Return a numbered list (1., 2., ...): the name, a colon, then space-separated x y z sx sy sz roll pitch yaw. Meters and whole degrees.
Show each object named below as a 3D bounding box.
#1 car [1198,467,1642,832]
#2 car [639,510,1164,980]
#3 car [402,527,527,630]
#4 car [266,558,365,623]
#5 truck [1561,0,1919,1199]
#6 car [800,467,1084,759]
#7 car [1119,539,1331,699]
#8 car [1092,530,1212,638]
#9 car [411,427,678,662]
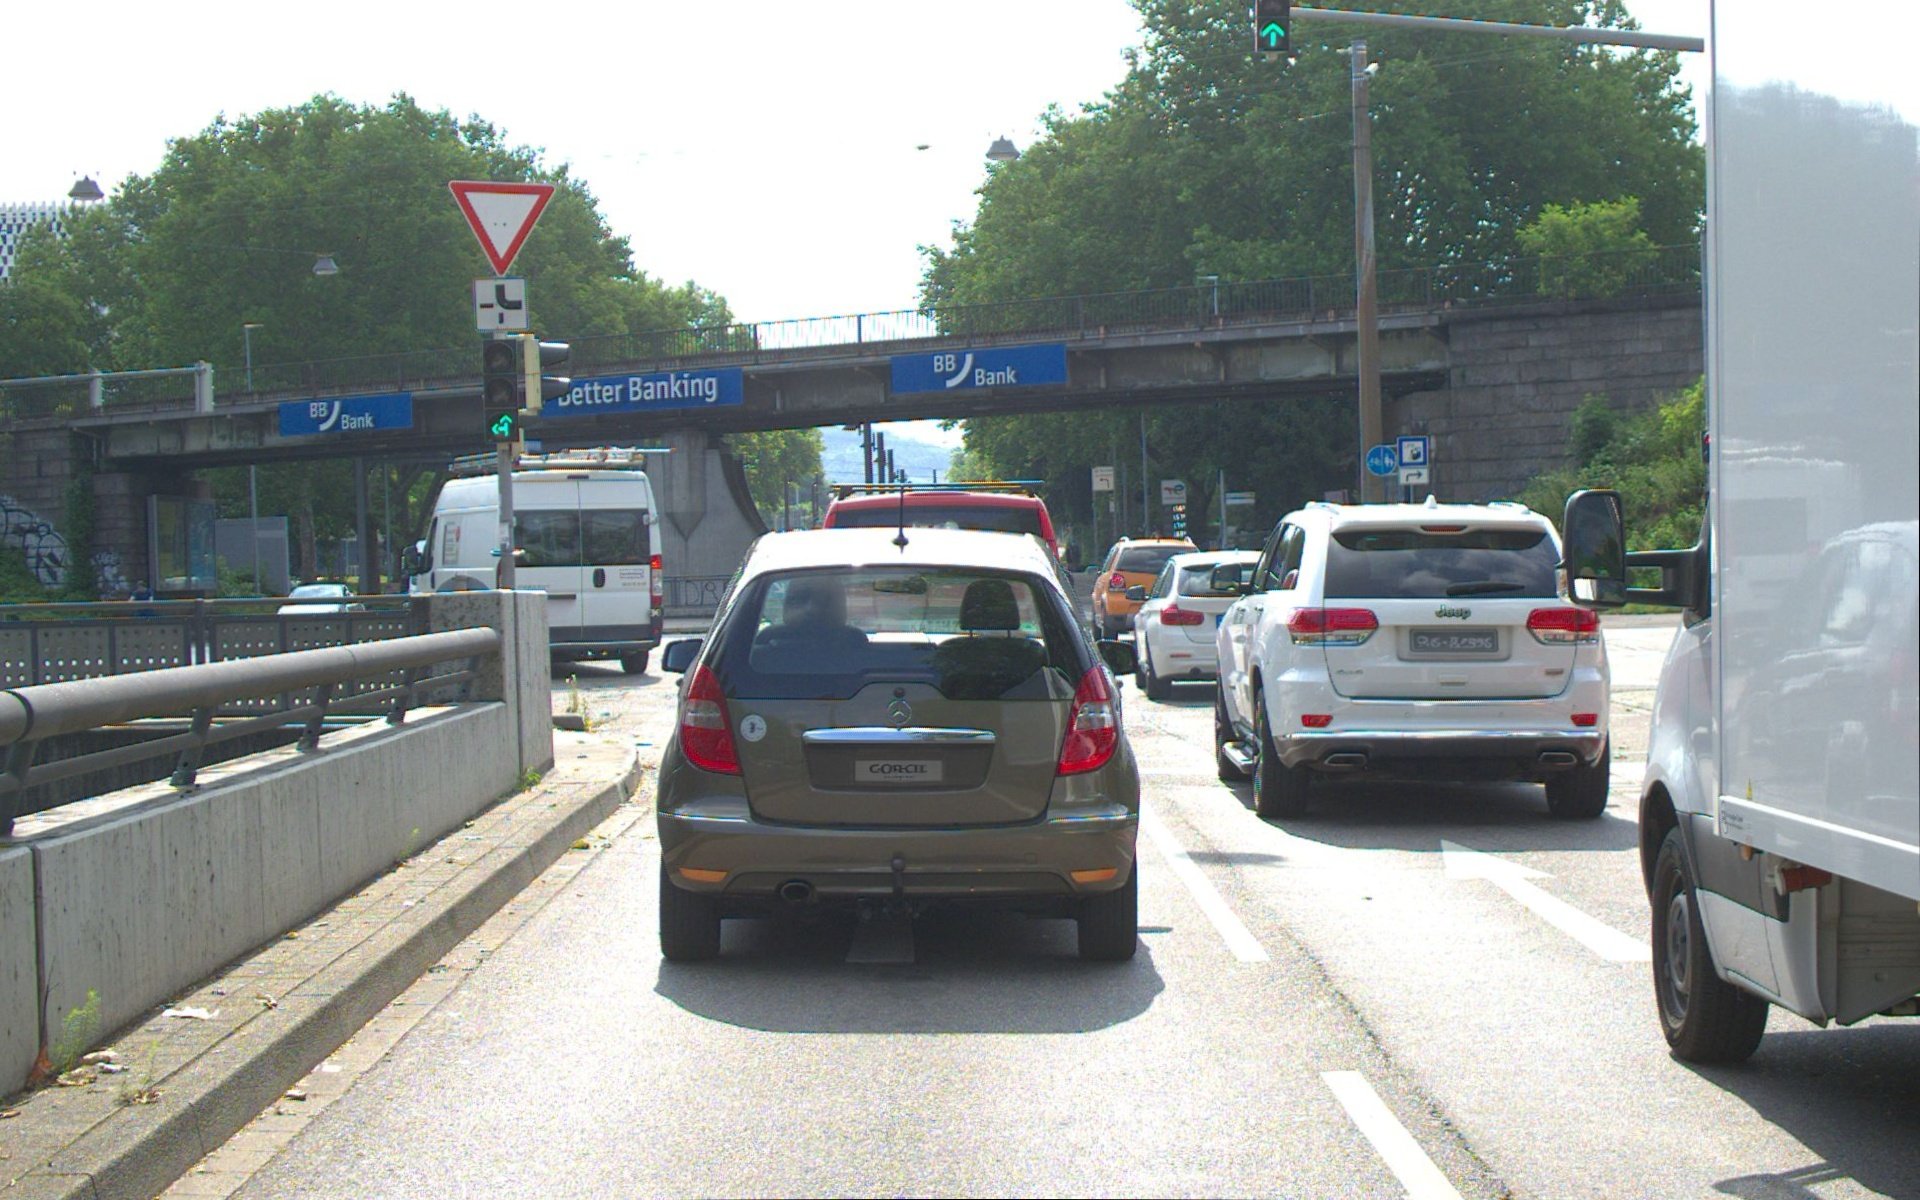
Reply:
1. car: 2.555 0.197 20.179 1.995 1.895 4.509 0 2 0
2. car: -0.200 0.460 13.668 1.792 1.603 3.799 0 1 0
3. car: -12.647 -0.549 88.088 2.258 2.518 5.626 -1 0 1
4. car: -16.060 -0.254 85.791 1.702 1.471 4.000 -4 0 -1
5. truck: 3.012 -0.189 7.622 2.447 3.110 6.028 0 0 1
6. car: -0.126 0.054 26.089 1.955 2.010 4.677 0 1 0
7. car: 2.605 0.189 34.576 1.852 1.516 3.617 0 0 0
8. car: 2.754 -0.213 49.869 1.544 1.516 3.617 0 0 0
9. car: -5.211 -0.627 42.511 2.197 2.717 4.932 0 0 -20
